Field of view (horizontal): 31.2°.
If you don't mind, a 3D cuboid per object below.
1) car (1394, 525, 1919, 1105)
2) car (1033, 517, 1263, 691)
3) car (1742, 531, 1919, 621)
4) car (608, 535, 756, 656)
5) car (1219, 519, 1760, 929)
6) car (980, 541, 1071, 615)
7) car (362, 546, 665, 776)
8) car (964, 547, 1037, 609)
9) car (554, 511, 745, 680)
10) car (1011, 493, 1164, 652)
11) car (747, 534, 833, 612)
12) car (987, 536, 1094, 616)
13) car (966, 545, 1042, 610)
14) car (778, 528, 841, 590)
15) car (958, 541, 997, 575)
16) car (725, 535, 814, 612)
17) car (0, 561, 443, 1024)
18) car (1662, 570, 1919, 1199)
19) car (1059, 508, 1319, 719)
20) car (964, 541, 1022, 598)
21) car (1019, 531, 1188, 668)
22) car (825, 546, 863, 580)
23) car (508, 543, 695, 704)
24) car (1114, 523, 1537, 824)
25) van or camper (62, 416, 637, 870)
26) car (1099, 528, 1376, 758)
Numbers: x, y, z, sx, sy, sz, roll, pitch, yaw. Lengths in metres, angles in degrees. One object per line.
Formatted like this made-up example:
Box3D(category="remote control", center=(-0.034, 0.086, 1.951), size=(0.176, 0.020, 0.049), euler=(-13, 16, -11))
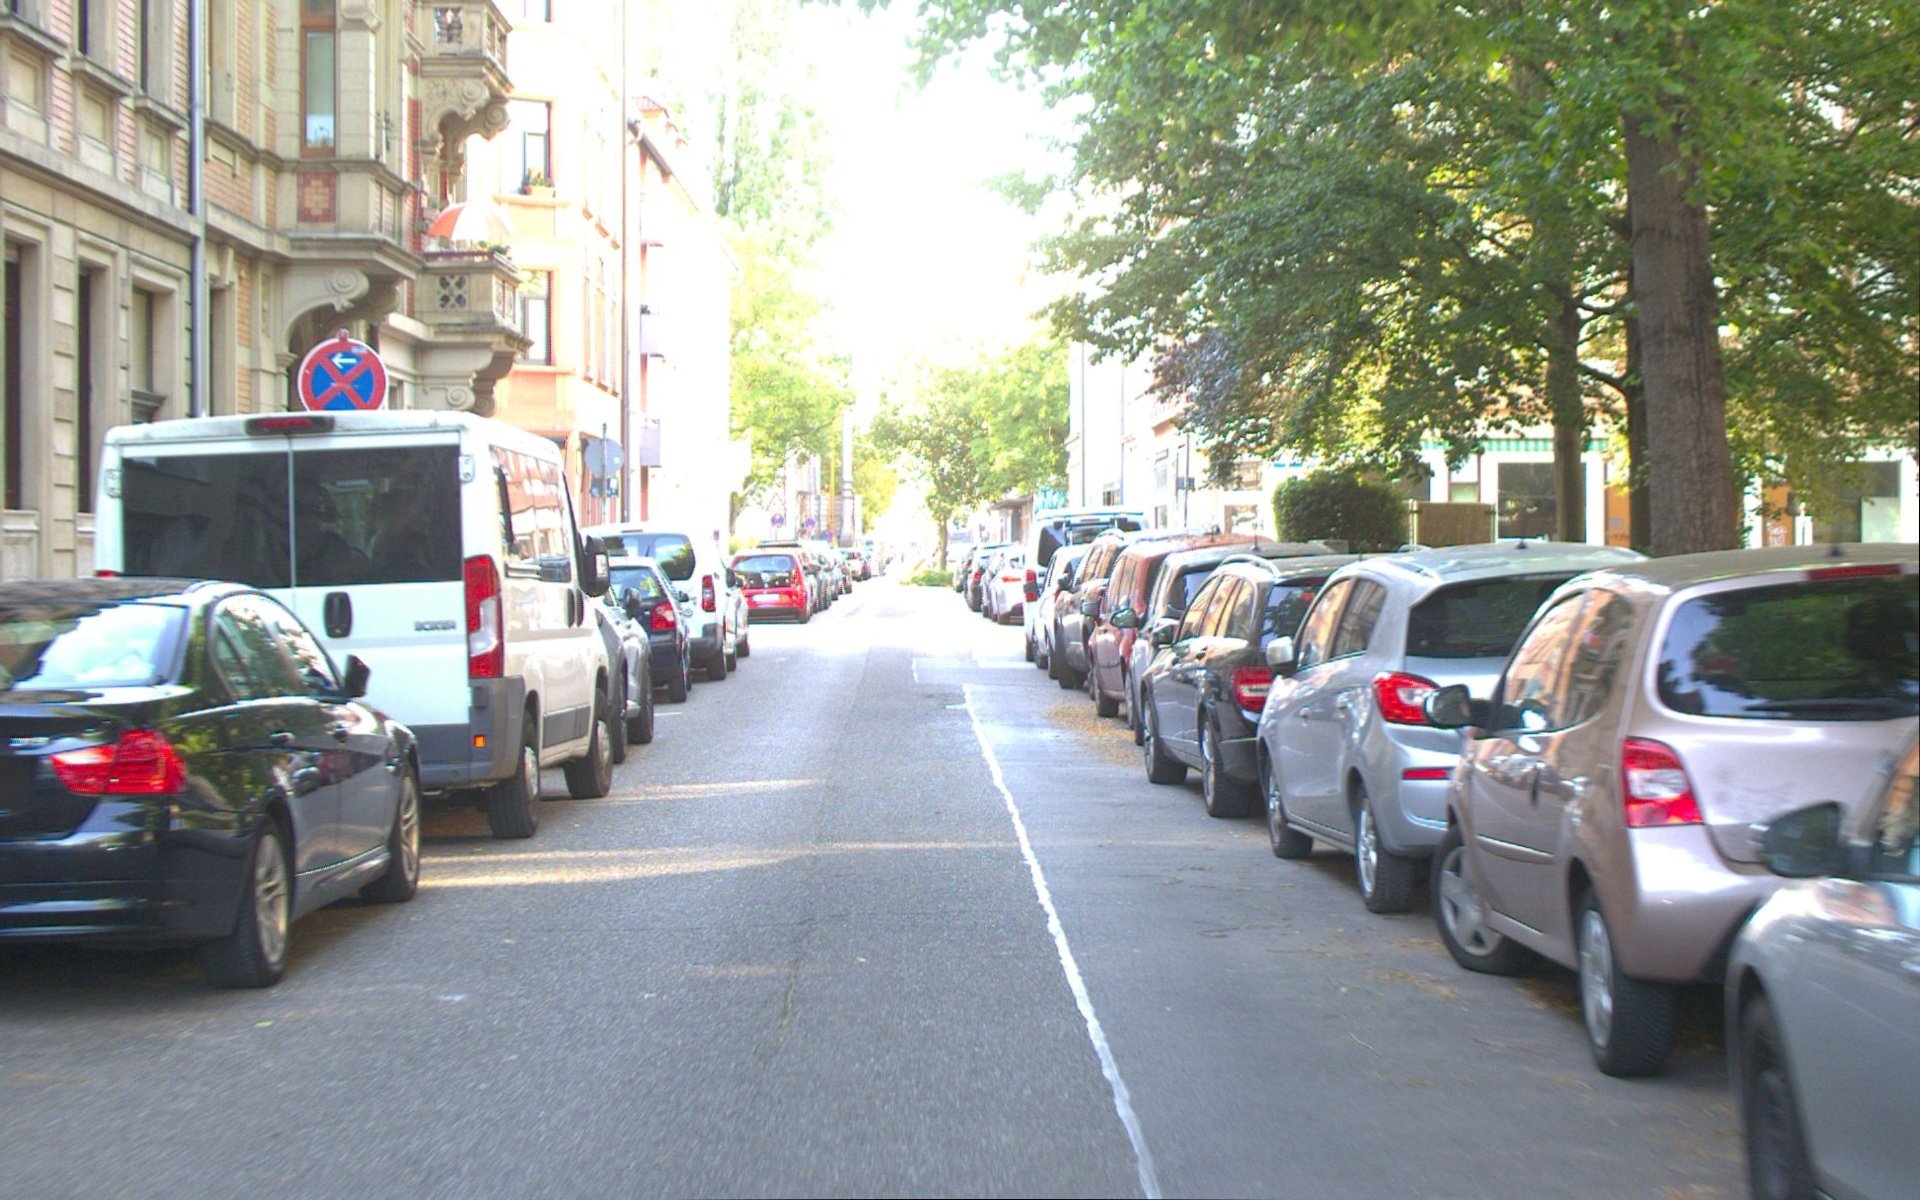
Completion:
Box3D(category="car", center=(2.469, 0.545, 10.970), size=(1.599, 1.463, 3.564), euler=(-4, 0, 0))
Box3D(category="car", center=(1.916, 0.031, 36.296), size=(1.739, 1.597, 4.265), euler=(-5, 0, -5))
Box3D(category="car", center=(15.652, -0.403, 59.723), size=(3.855, 1.468, 1.633), euler=(1, -1, 6))
Box3D(category="car", center=(-3.641, -0.093, 45.580), size=(1.692, 1.476, 3.973), euler=(-2, 1, -1))
Box3D(category="car", center=(2.233, 0.482, 15.410), size=(1.599, 1.500, 3.628), euler=(-5, 0, -3))
Box3D(category="car", center=(1.397, -0.508, 74.384), size=(1.744, 1.501, 4.021), euler=(-2, 1, -1))
Box3D(category="car", center=(-3.226, 0.382, 25.583), size=(1.766, 1.509, 4.194), euler=(-2, 1, -1))
Box3D(category="car", center=(1.022, -0.581, 88.462), size=(1.675, 1.501, 3.938), euler=(-2, 1, -1))
Box3D(category="car", center=(-3.562, -0.090, 40.178), size=(1.831, 1.805, 4.572), euler=(-2, 1, -1))
Box3D(category="car", center=(1.698, -0.395, 46.634), size=(1.914, 1.991, 4.792), euler=(-2, 1, 1))
Box3D(category="car", center=(-4.153, -0.693, 84.461), size=(1.743, 1.805, 4.672), euler=(-2, 1, 1))
Box3D(category="car", center=(1.585, -0.509, 68.954), size=(1.743, 1.501, 4.358), euler=(-2, 1, -3))
Box3D(category="car", center=(1.059, -0.569, 84.046), size=(1.675, 1.501, 3.938), euler=(-2, 1, -1))
Box3D(category="car", center=(-4.506, -1.243, 103.619), size=(1.765, 1.779, 4.039), euler=(-2, 1, -1))
Box3D(category="car", center=(0.817, -1.959, 159.486), size=(1.675, 1.482, 3.638), euler=(-2, 1, -1))
Box3D(category="car", center=(-3.820, -0.553, 69.361), size=(1.628, 1.476, 3.601), euler=(-2, 1, -1))
Box3D(category="car", center=(-3.182, 0.595, 12.911), size=(1.731, 1.397, 4.315), euler=(-2, 1, 1))
Box3D(category="car", center=(2.399, 0.670, 5.742), size=(1.599, 1.465, 3.869), euler=(-2, 0, 0))
Box3D(category="car", center=(1.949, 0.108, 30.340), size=(1.618, 1.619, 3.864), euler=(-5, 0, -5))
Box3D(category="car", center=(1.014, -0.917, 105.974), size=(1.676, 1.676, 4.094), euler=(-2, 0, 0))
Box3D(category="car", center=(1.670, -0.031, 41.186), size=(1.719, 1.565, 3.829), euler=(0, 1, -2))
Box3D(category="car", center=(-5.306, -1.703, 157.702), size=(1.675, 1.482, 4.095), euler=(-2, 1, -1))
Box3D(category="car", center=(-3.621, 0.193, 35.243), size=(1.692, 1.509, 3.974), euler=(-2, 1, -3))
Box3D(category="car", center=(2.010, 0.374, 20.246), size=(1.675, 1.436, 4.696), euler=(-5, 0, -3))
Box3D(category="van or camper", center=(-3.205, 0.163, 19.274), size=(2.177, 2.140, 5.154), euler=(-2, 1, 1))
Box3D(category="car", center=(2.005, 0.287, 25.789), size=(1.619, 1.481, 3.776), euler=(-4, 0, -1))
